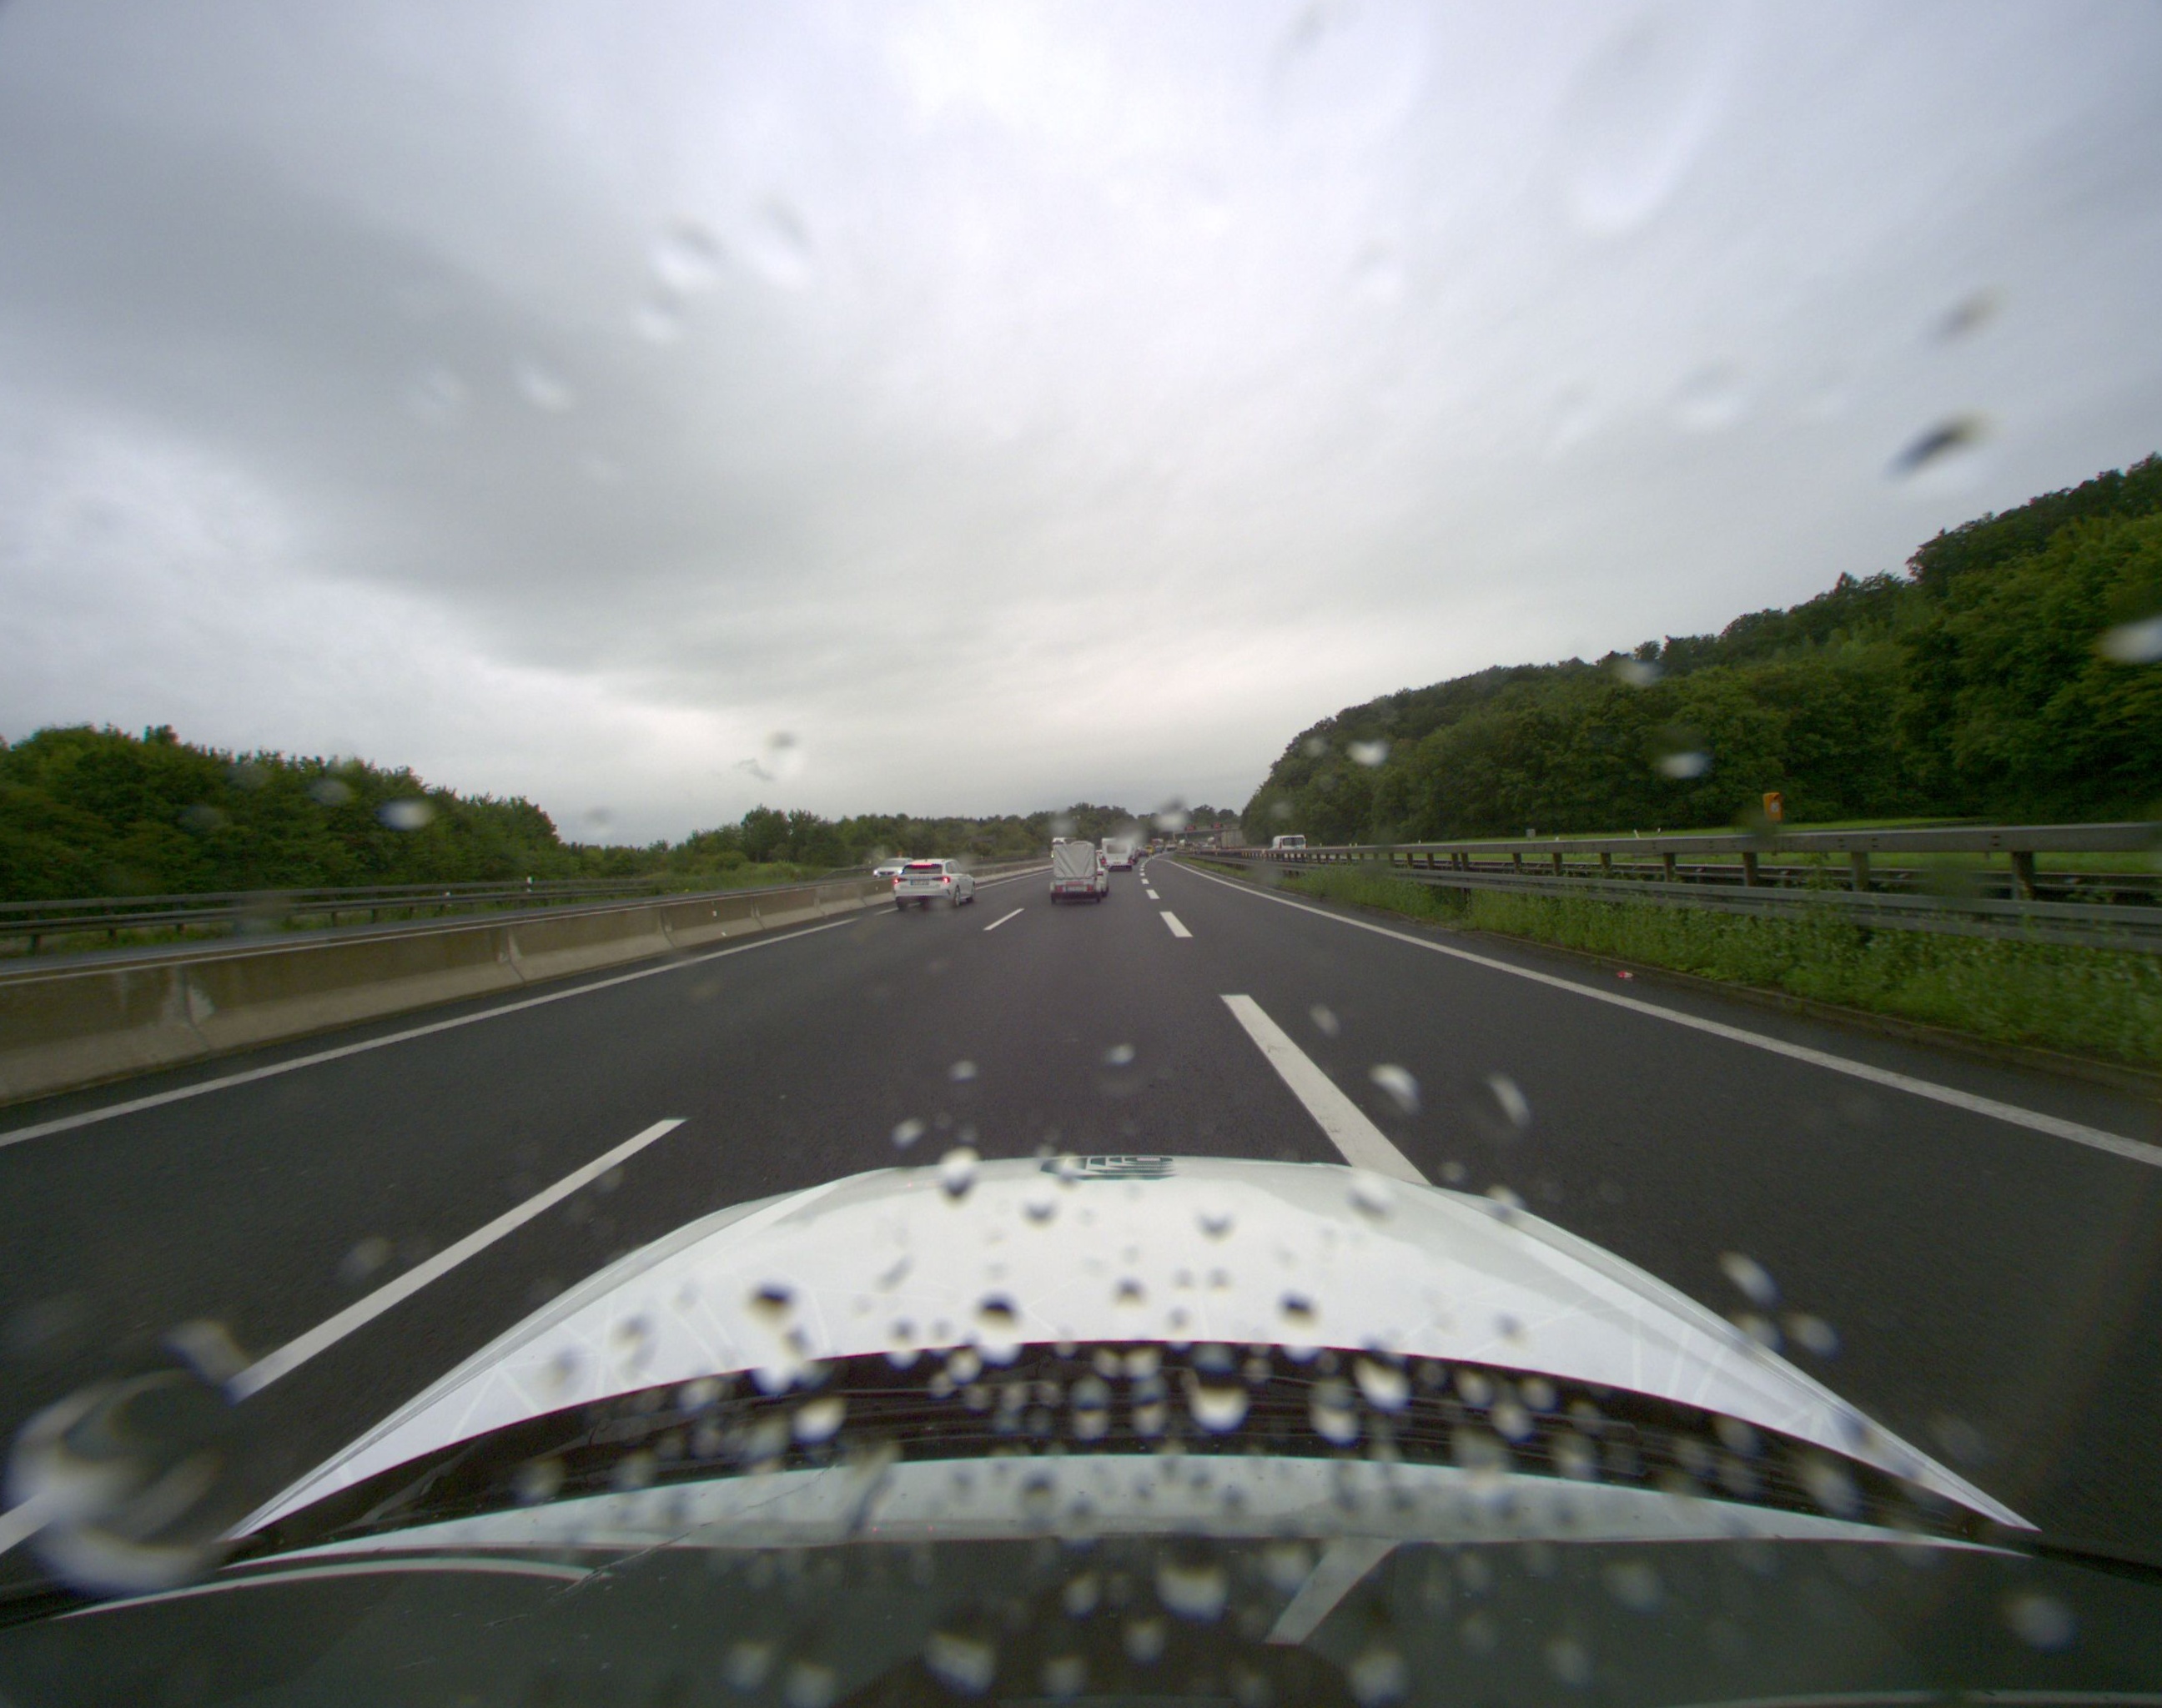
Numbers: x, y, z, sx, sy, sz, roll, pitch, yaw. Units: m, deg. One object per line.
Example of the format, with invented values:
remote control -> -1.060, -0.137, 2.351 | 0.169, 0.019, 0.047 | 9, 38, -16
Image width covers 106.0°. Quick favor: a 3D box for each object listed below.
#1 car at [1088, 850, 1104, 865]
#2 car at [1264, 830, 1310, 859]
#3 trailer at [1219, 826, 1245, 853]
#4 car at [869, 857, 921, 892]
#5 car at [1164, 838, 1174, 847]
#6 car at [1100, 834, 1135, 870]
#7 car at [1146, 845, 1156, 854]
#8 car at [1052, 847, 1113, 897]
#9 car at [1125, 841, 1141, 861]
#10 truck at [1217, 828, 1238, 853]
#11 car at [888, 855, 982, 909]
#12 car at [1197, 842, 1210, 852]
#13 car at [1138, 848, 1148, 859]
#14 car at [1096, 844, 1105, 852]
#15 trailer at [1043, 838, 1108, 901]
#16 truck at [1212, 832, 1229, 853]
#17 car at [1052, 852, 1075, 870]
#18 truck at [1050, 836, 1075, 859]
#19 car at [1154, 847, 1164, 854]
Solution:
car -> 1.985, 0.463, 104.867 | 1.986, 1.919, 4.001 | -2, -1, 1
car -> 13.317, -0.582, 53.001 | 1.901, 1.693, 4.721 | -2, -1, 2
trailer -> 23.489, -2.174, 127.126 | 2.592, 3.894, 12.504 | -2, -1, 4
car -> -10.863, 1.152, 47.912 | 1.730, 1.919, 4.321 | -2, -1, 4
car -> 25.469, -3.313, 235.219 | 2.500, 2.574, 5.326 | -2, -1, 10
car -> 2.864, -0.140, 63.782 | 2.497, 2.585, 5.704 | -2, -1, 3
car -> 14.986, -0.984, 173.527 | 1.666, 1.812, 4.011 | -2, -1, 9
car -> 0.140, 0.622, 29.491 | 1.810, 1.616, 4.782 | -2, -1, 4
car -> 5.800, -0.279, 90.233 | 1.668, 2.067, 4.004 | -2, -1, 4
truck -> 23.984, -2.133, 133.858 | 2.604, 3.884, 6.399 | -2, -1, 4
car -> -4.376, 0.807, 25.247 | 1.811, 1.456, 4.780 | -2, -1, 2
car -> 18.729, -1.021, 124.563 | 1.659, 1.382, 4.132 | -4, 0, 5
car -> 10.996, -0.015, 144.352 | 1.667, 1.812, 4.008 | -2, -1, 7
car -> 4.525, -1.375, 187.759 | 1.729, 1.919, 4.324 | -2, -1, 6
trailer -> -0.105, 0.475, 26.055 | 1.668, 1.812, 4.005 | -2, -1, 4
truck -> 33.428, -2.708, 195.699 | 3.198, 4.666, 13.059 | -2, -1, 7
car -> -1.450, 0.575, 70.588 | 1.669, 1.456, 4.003 | -2, -1, 3
truck -> -3.487, -1.170, 156.857 | 2.772, 4.092, 12.324 | -2, -1, 7
car -> 18.873, -0.847, 197.206 | 2.025, 1.683, 4.011 | -2, -1, 10
